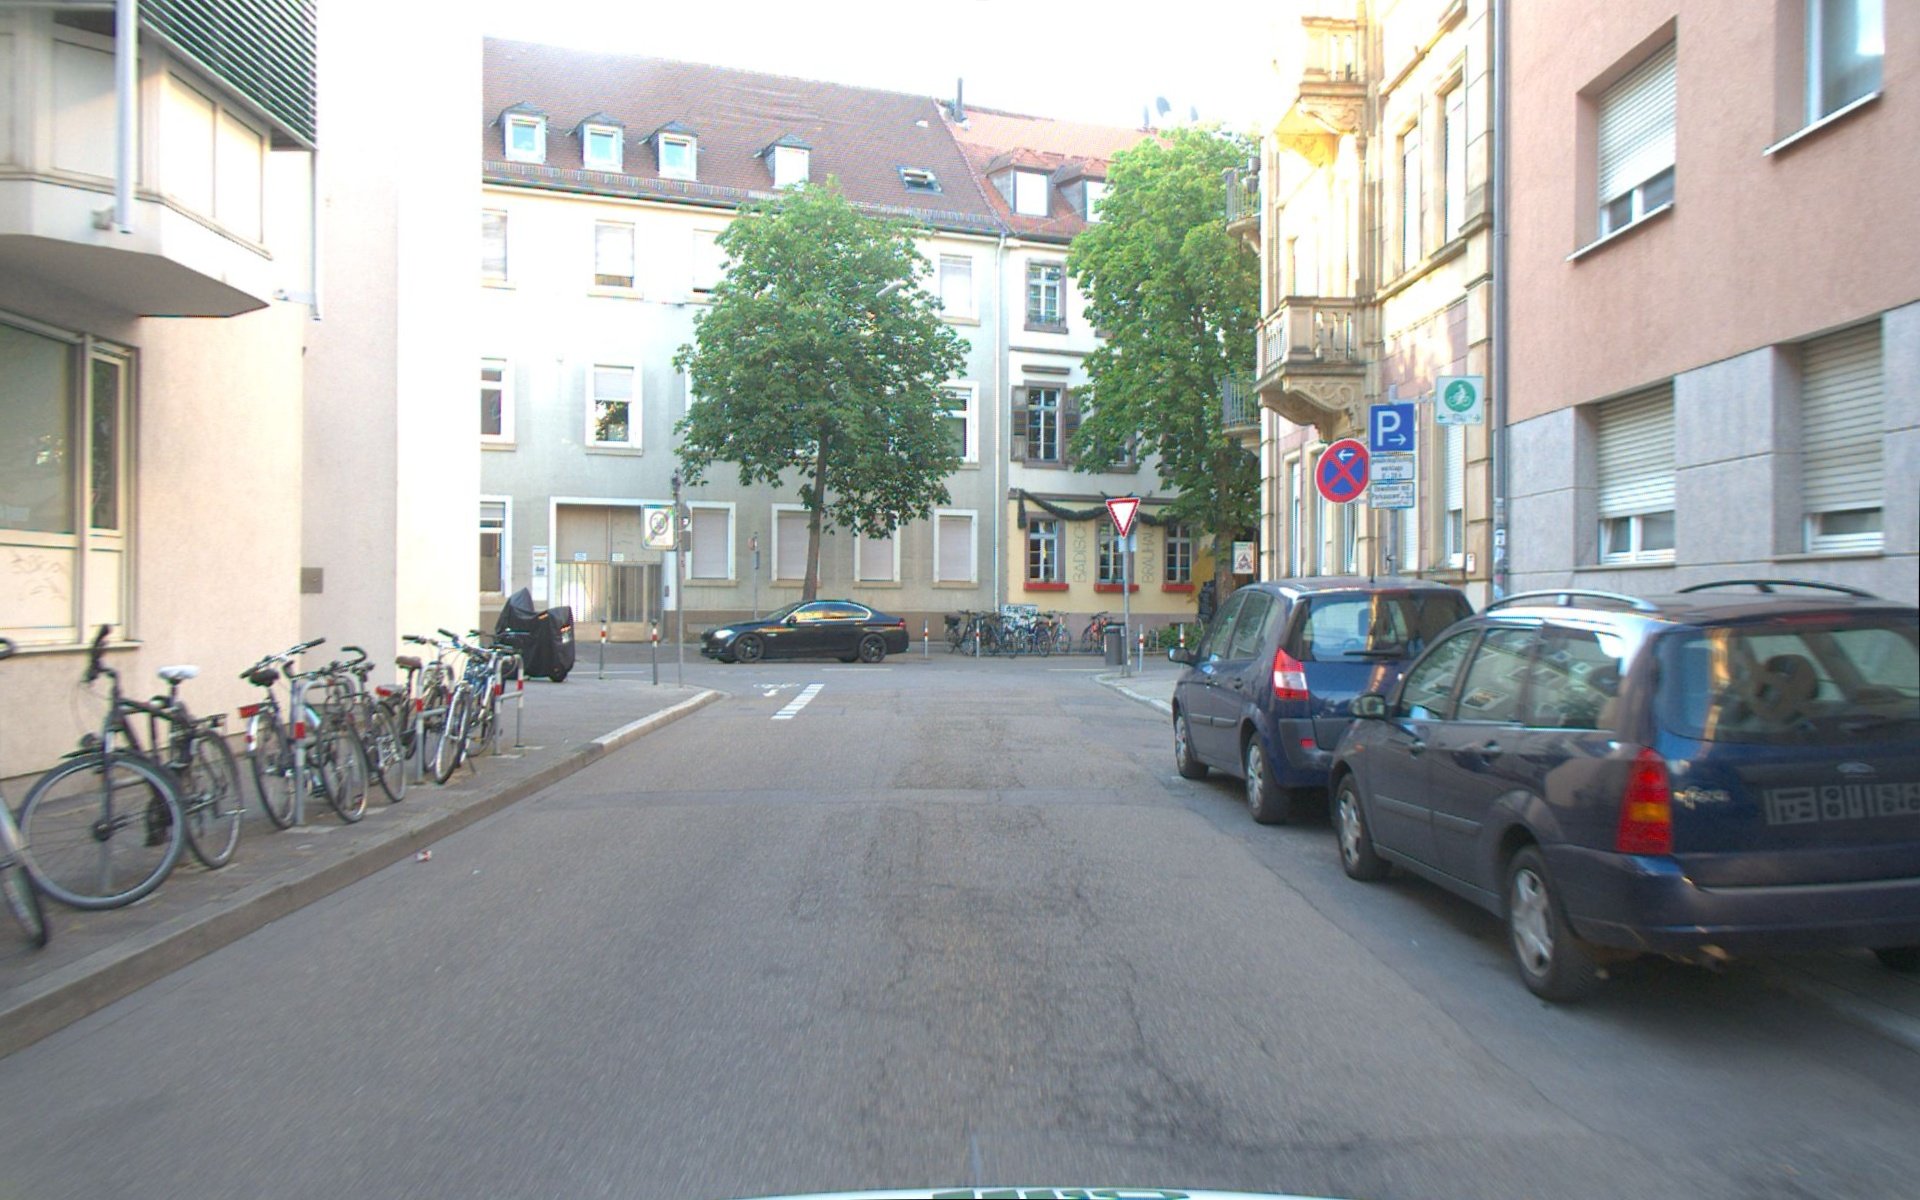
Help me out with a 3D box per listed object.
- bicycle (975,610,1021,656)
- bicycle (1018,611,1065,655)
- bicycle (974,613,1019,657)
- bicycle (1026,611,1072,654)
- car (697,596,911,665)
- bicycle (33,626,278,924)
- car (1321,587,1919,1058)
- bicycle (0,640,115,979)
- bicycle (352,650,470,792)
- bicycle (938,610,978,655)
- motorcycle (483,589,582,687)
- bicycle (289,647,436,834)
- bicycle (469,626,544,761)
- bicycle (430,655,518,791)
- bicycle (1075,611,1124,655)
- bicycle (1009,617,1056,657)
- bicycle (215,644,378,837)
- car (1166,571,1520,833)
[{"bbox_3d":[0.983,0.861,43.334,0.439,1.165,2.028,0,0,-22],"label":"bicycle"},{"bbox_3d":[2.228,0.903,45.351,0.414,1.165,2.027,0,0,-24],"label":"bicycle"},{"bbox_3d":[0.976,0.946,45.063,0.414,1.165,2.027,0,0,-24],"label":"bicycle"},{"bbox_3d":[2.464,0.883,46.011,0.414,1.165,2.027,0,0,-24],"label":"bicycle"},{"bbox_3d":[-3.556,0.659,37.709,4.589,1.475,1.756,0,0,-23],"label":"car"},{"bbox_3d":[-3.844,0.770,8.038,0.300,1.244,1.813,1,0,0],"label":"bicycle"},{"bbox_3d":[2.996,0.724,7.575,1.655,1.540,4.282,0,0,-1],"label":"car"},{"bbox_3d":[-3.778,0.774,5.680,0.583,1.208,2.265,1,0,0],"label":"bicycle"},{"bbox_3d":[-4.210,0.897,12.780,0.300,0.948,1.813,1,0,0],"label":"bicycle"},{"bbox_3d":[-0.064,0.867,44.743,0.438,1.165,2.030,0,0,-20],"label":"bicycle"},{"bbox_3d":[-7.197,0.612,27.770,0.664,1.583,2.128,0,0,-43],"label":"motorcycle"},{"bbox_3d":[-3.862,0.869,10.804,0.300,1.060,1.813,1,0,0],"label":"bicycle"},{"bbox_3d":[-4.135,0.822,15.146,0.392,1.121,1.810,1,0,-7],"label":"bicycle"},{"bbox_3d":[-3.873,0.949,13.273,0.301,0.948,1.811,1,0,-5],"label":"bicycle"},{"bbox_3d":[3.821,0.895,45.474,0.414,1.165,2.027,0,0,-24],"label":"bicycle"},{"bbox_3d":[1.921,0.986,44.311,0.414,1.021,2.027,0,0,-24],"label":"bicycle"},{"bbox_3d":[-4.169,0.841,10.502,0.300,1.060,1.813,1,0,0],"label":"bicycle"},{"bbox_3d":[2.681,0.643,12.500,1.655,1.653,4.053,0,0,-1],"label":"car"}]
